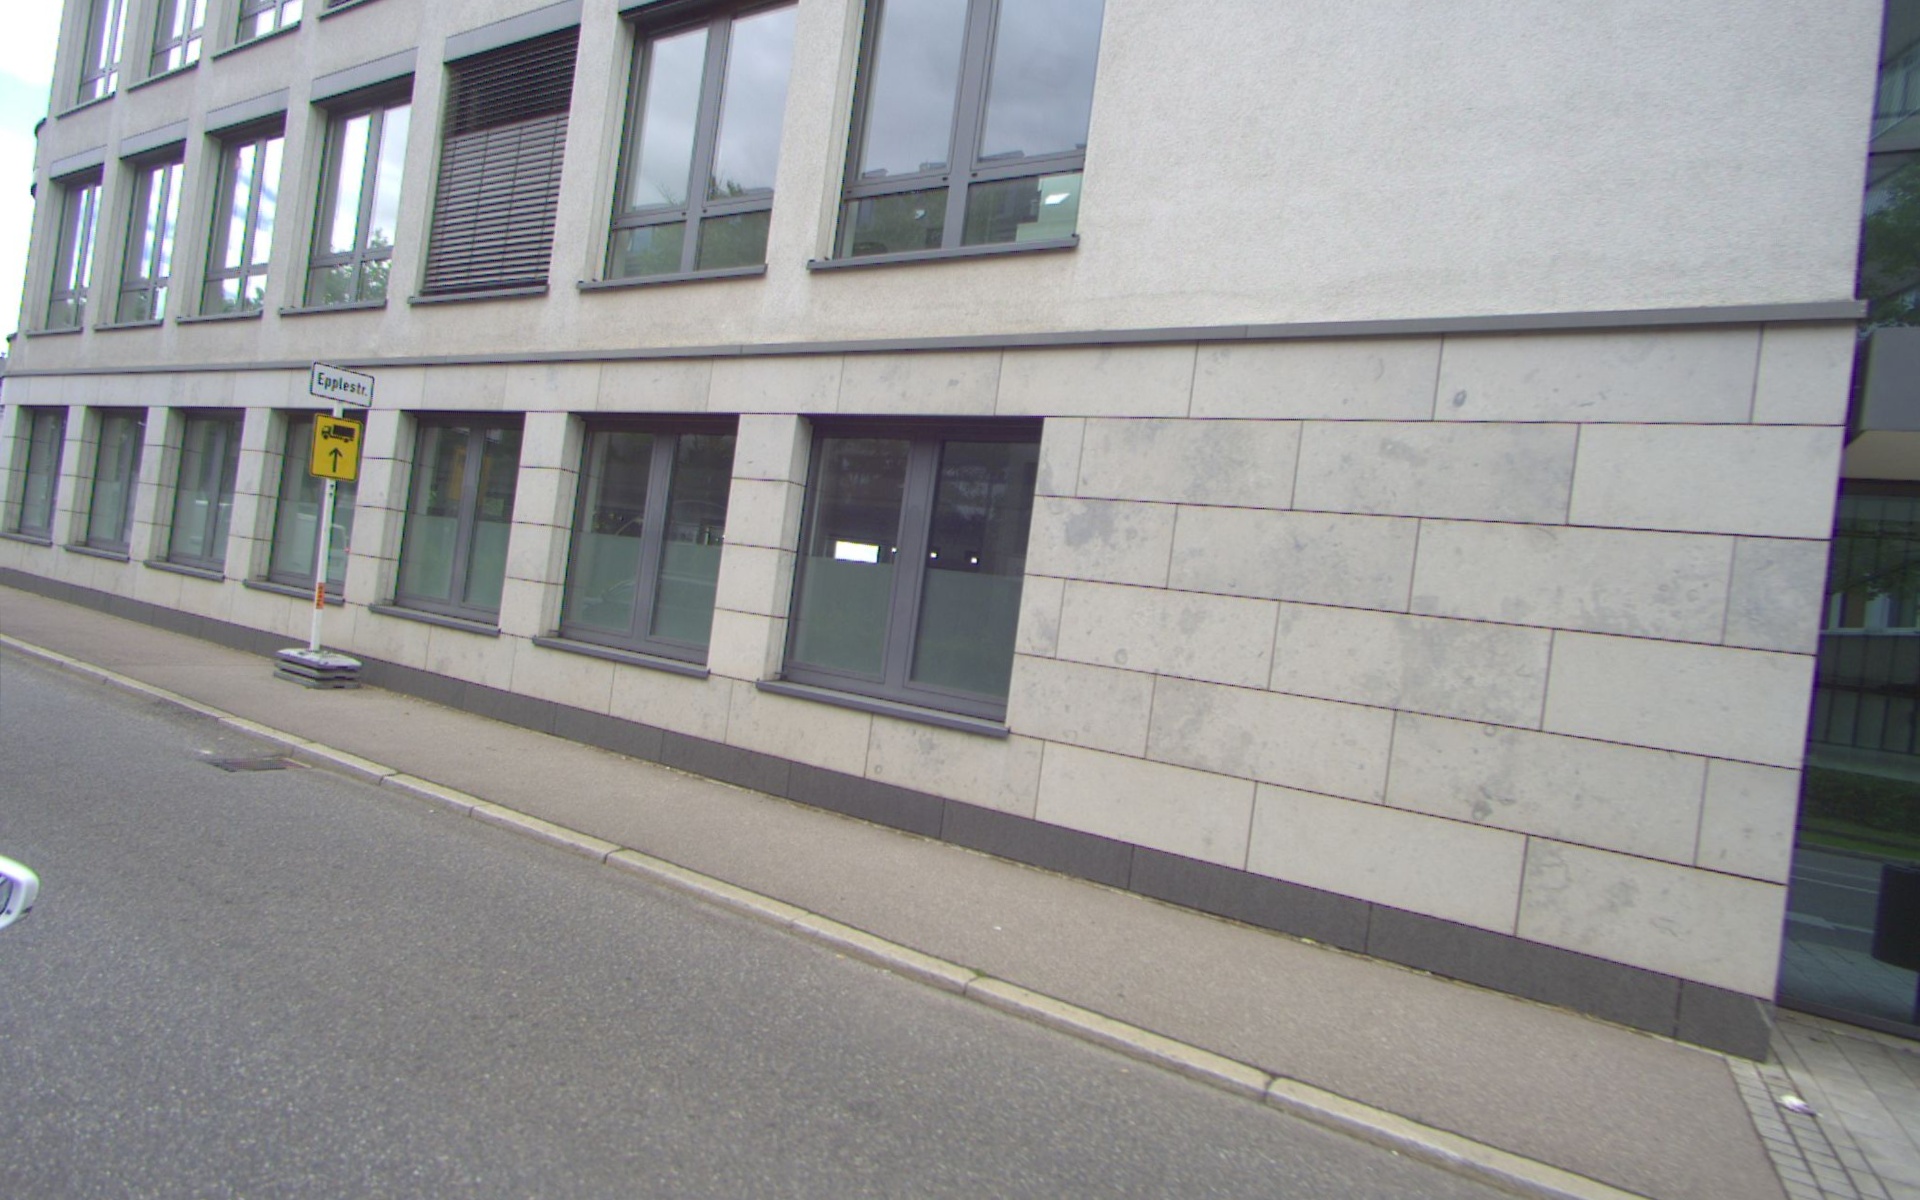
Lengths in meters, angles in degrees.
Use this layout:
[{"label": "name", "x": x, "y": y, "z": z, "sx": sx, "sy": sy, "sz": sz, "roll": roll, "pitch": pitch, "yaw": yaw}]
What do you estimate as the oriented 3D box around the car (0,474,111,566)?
[{"label": "car", "x": -32.094, "y": -2.851, "z": 33.859, "sx": 5.726, "sy": 2.602, "sz": 2.308, "roll": 7, "pitch": -2, "yaw": 15}]
